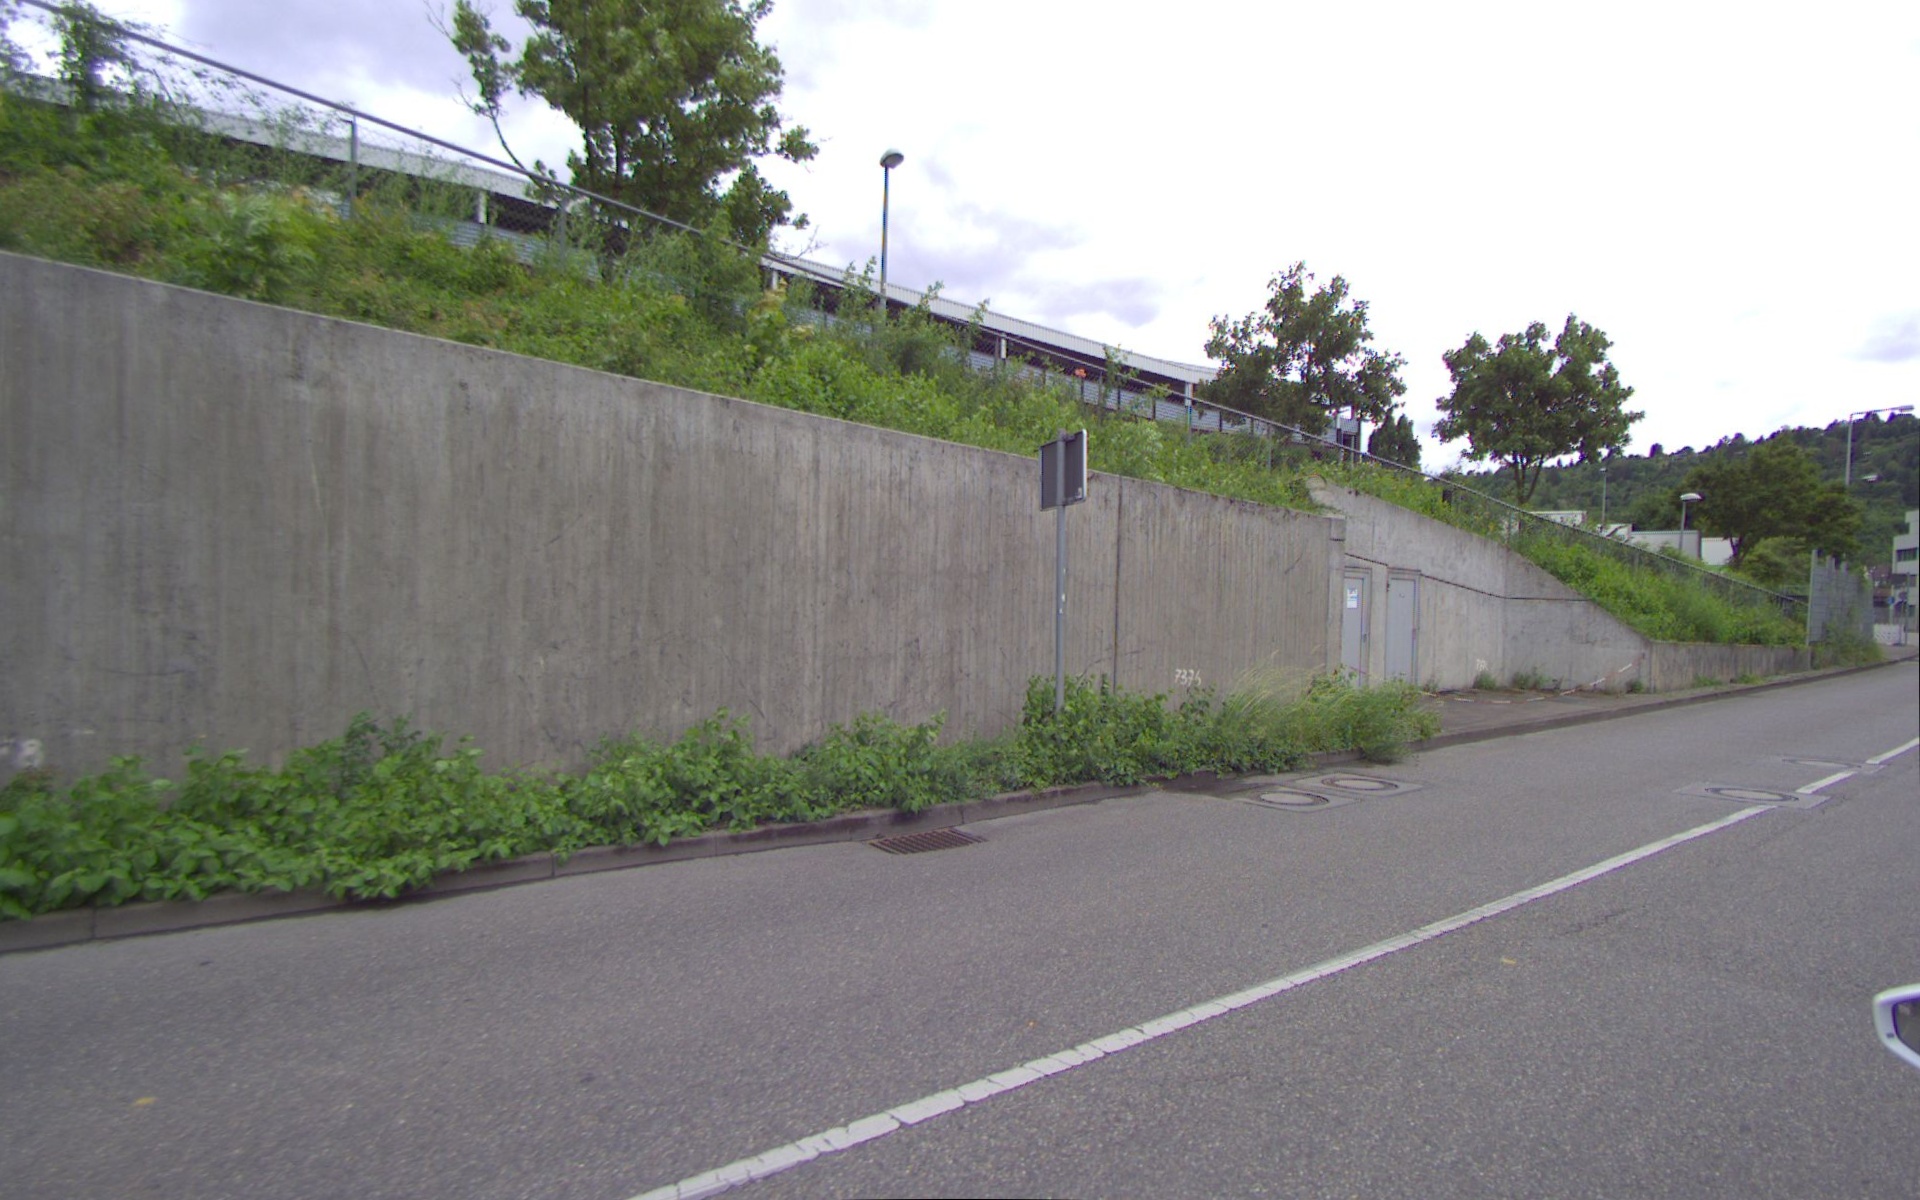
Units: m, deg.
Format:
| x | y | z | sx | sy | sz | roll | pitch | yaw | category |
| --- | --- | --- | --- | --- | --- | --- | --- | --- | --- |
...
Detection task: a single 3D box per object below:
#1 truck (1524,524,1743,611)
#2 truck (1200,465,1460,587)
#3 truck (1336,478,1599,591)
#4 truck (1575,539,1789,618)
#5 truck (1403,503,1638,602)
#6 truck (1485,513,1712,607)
| x | y | z | sx | sy | sz | roll | pitch | yaw | category |
| --- | --- | --- | --- | --- | --- | --- | --- | --- | --- |
| 30.324 | -1.470 | 45.670 | 7.715 | 3.585 | 3.051 | 2 | -1 | 23 | truck |
| 12.220 | -2.441 | 33.600 | 7.713 | 3.585 | 3.052 | 2 | -1 | 22 | truck |
| 17.830 | -2.326 | 35.991 | 7.996 | 3.585 | 3.052 | 2 | -1 | 22 | truck |
| 40.536 | -1.217 | 56.684 | 9.505 | 4.044 | 3.039 | 2 | -1 | 40 | truck |
| 22.113 | -1.908 | 40.213 | 7.713 | 3.585 | 3.052 | 2 | -1 | 22 | truck |
| 26.776 | -1.699 | 42.681 | 7.720 | 3.585 | 3.049 | 2 | -1 | 27 | truck |
